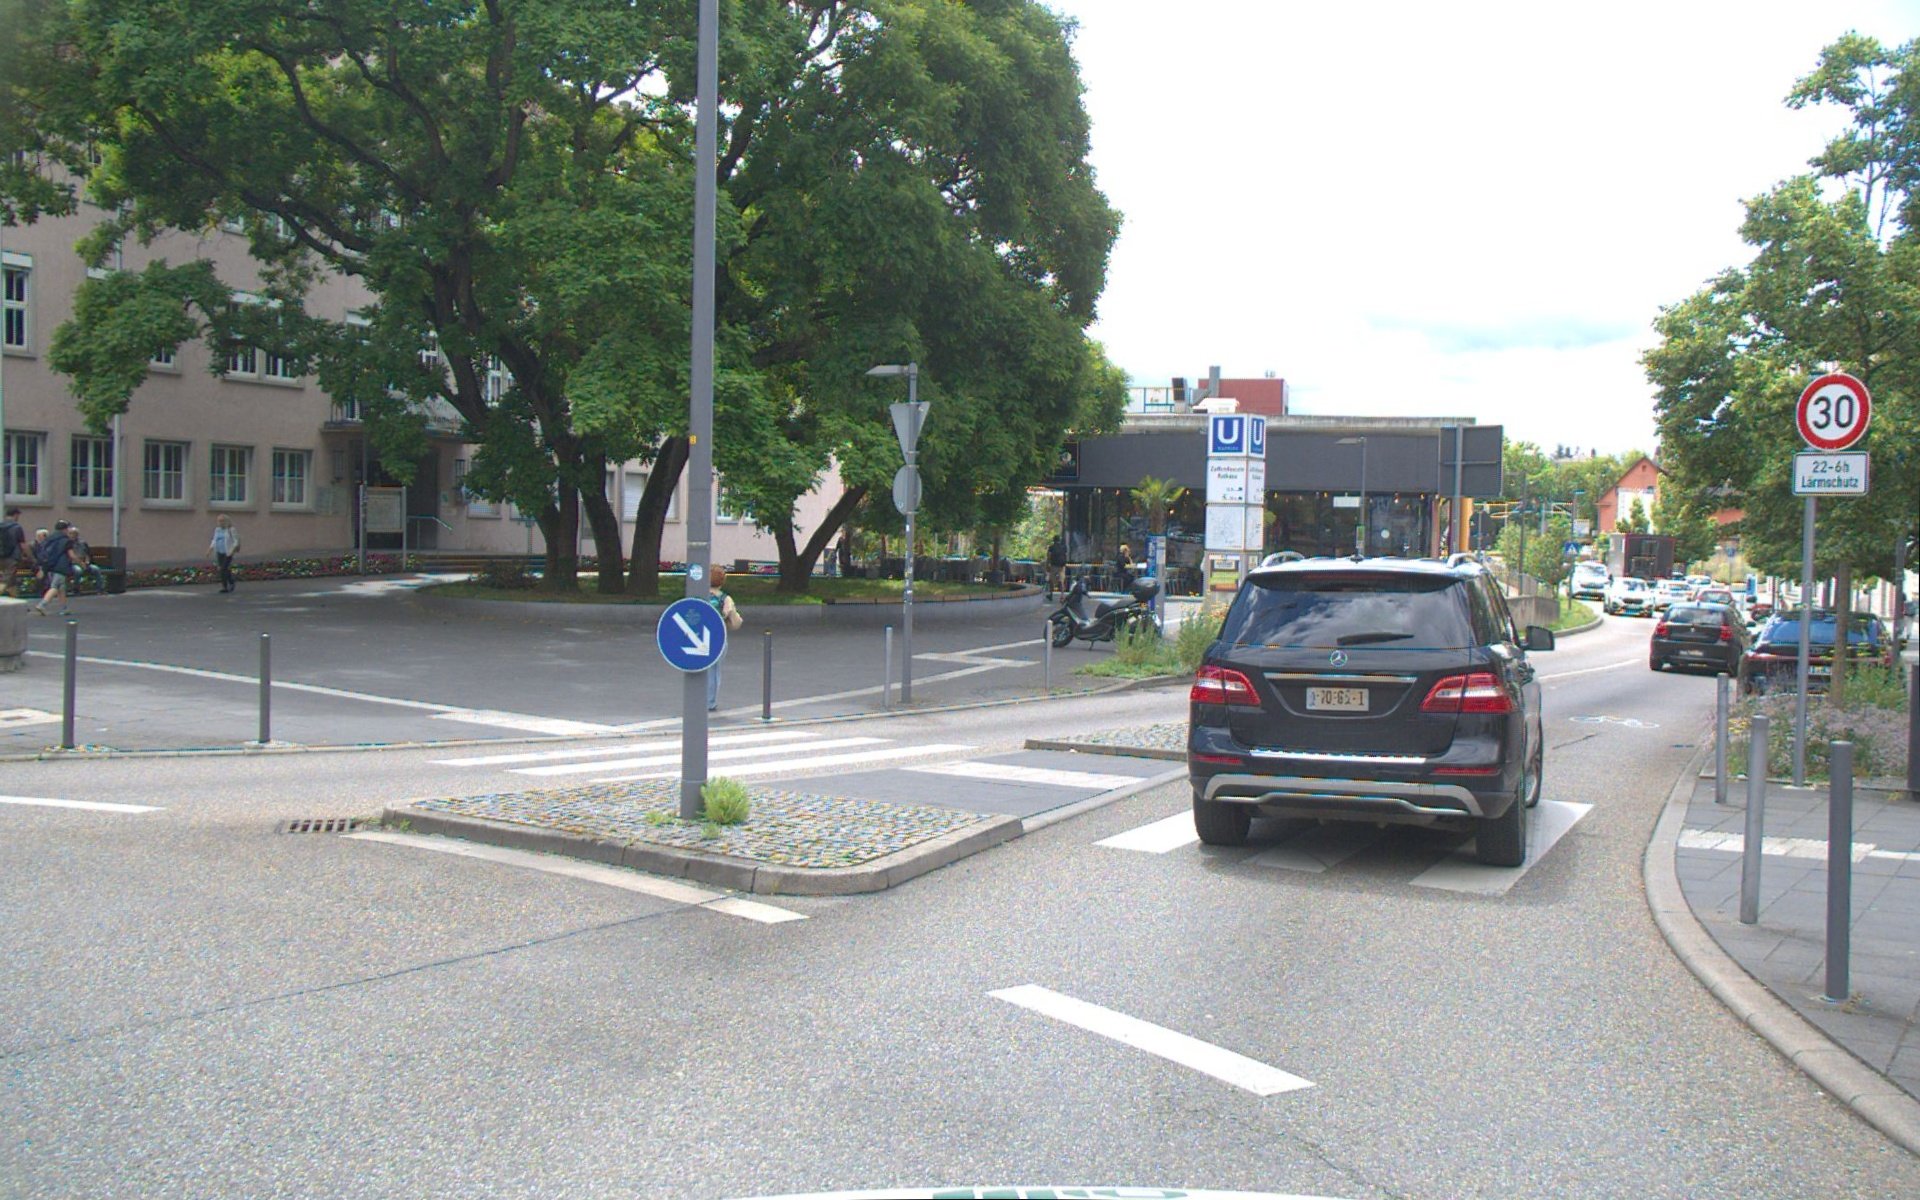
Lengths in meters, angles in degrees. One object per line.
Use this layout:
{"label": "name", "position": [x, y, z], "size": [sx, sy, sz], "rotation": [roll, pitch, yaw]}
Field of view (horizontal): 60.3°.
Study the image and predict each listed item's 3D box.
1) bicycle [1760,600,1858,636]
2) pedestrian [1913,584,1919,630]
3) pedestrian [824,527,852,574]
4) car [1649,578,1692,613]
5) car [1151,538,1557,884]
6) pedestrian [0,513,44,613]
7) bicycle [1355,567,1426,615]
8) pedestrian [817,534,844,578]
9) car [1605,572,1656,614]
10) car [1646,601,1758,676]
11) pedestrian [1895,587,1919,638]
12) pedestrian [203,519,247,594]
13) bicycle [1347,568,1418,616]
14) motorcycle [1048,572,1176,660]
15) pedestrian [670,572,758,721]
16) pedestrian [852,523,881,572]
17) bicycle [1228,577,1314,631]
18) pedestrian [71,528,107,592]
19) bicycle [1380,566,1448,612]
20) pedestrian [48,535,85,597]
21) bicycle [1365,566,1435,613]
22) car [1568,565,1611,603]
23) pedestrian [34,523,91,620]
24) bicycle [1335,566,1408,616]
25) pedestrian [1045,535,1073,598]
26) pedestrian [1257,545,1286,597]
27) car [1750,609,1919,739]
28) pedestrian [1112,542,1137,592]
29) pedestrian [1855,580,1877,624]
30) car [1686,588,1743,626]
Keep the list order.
{"label": "bicycle", "position": [29.578, 0.623, 57.666], "size": [2.999, 1.166, 0.709], "rotation": [2, 1, 25]}
{"label": "pedestrian", "position": [35.986, 0.279, 61.805], "size": [0.548, 1.712, 0.568], "rotation": [2, 1, 26]}
{"label": "pedestrian", "position": [-4.303, -1.745, 58.354], "size": [0.771, 1.604, 0.636], "rotation": [1, 1, 28]}
{"label": "car", "position": [34.472, -0.245, 80.278], "size": [1.804, 1.550, 3.999], "rotation": [5, 2, 23]}
{"label": "car", "position": [2.792, 0.539, 10.840], "size": [1.986, 1.757, 4.433], "rotation": [1, 1, 21]}
{"label": "pedestrian", "position": [-15.731, -0.619, 27.643], "size": [0.430, 1.636, 0.570], "rotation": [7, 4, 44]}
{"label": "bicycle", "position": [10.417, -0.221, 40.060], "size": [1.539, 1.110, 0.577], "rotation": [2, 1, 30]}
{"label": "pedestrian", "position": [-4.742, -1.596, 60.419], "size": [0.623, 1.604, 0.787], "rotation": [1, 1, 29]}
{"label": "car", "position": [29.483, -0.334, 72.810], "size": [1.803, 1.635, 4.001], "rotation": [4, 2, 20]}
{"label": "car", "position": [15.543, 0.758, 34.550], "size": [1.580, 1.407, 3.826], "rotation": [2, 1, 33]}
{"label": "pedestrian", "position": [31.839, 0.414, 55.572], "size": [0.649, 1.712, 0.568], "rotation": [2, 1, 25]}
{"label": "pedestrian", "position": [-15.189, -0.892, 34.190], "size": [0.687, 1.519, 0.812], "rotation": [2, 0, -16]}
{"label": "bicycle", "position": [10.051, -0.191, 39.364], "size": [1.539, 1.087, 0.538], "rotation": [2, 1, 30]}
{"label": "motorcycle", "position": [2.547, 0.248, 27.857], "size": [2.094, 1.311, 0.582], "rotation": [4, 4, 32]}
{"label": "pedestrian", "position": [-2.676, 0.489, 18.025], "size": [0.540, 1.540, 0.786], "rotation": [3, 4, 32]}
{"label": "pedestrian", "position": [-3.193, -1.784, 56.504], "size": [0.771, 1.656, 0.636], "rotation": [1, 1, 28]}
{"label": "bicycle", "position": [6.153, 0.069, 32.770], "size": [1.584, 1.014, 0.498], "rotation": [2, 1, 36]}
{"label": "pedestrian", "position": [-17.538, -0.801, 33.321], "size": [0.478, 1.243, 0.579], "rotation": [2, 0, -13]}
{"label": "bicycle", "position": [11.423, -0.277, 41.646], "size": [1.539, 1.110, 0.577], "rotation": [2, 1, 30]}
{"label": "pedestrian", "position": [-17.534, -0.667, 32.462], "size": [0.478, 1.203, 0.579], "rotation": [2, 0, -13]}
{"label": "bicycle", "position": [10.876, -0.255, 40.888], "size": [1.539, 1.110, 0.577], "rotation": [2, 1, 30]}
{"label": "car", "position": [34.766, -0.917, 91.434], "size": [1.802, 1.890, 4.500], "rotation": [4, 2, 17]}
{"label": "pedestrian", "position": [-14.826, -0.471, 27.317], "size": [0.568, 1.549, 0.634], "rotation": [7, 4, 44]}
{"label": "bicycle", "position": [9.630, -0.219, 38.720], "size": [1.539, 1.110, 0.577], "rotation": [2, 1, 30]}
{"label": "pedestrian", "position": [2.576, -0.871, 42.848], "size": [0.601, 1.604, 0.583], "rotation": [1, 1, 13]}
{"label": "pedestrian", "position": [9.120, -0.847, 48.415], "size": [0.571, 1.489, 0.613], "rotation": [2, 1, 37]}
{"label": "car", "position": [11.279, 0.849, 21.095], "size": [1.822, 1.430, 4.365], "rotation": [1, 0, 30]}
{"label": "pedestrian", "position": [4.682, -0.930, 46.961], "size": [0.569, 1.403, 0.616], "rotation": [1, 1, 17]}
{"label": "pedestrian", "position": [36.027, 0.085, 65.757], "size": [0.547, 1.712, 0.569], "rotation": [2, 1, 7]}
{"label": "car", "position": [30.108, 0.261, 66.074], "size": [1.575, 1.407, 3.839], "rotation": [1, 1, 17]}
